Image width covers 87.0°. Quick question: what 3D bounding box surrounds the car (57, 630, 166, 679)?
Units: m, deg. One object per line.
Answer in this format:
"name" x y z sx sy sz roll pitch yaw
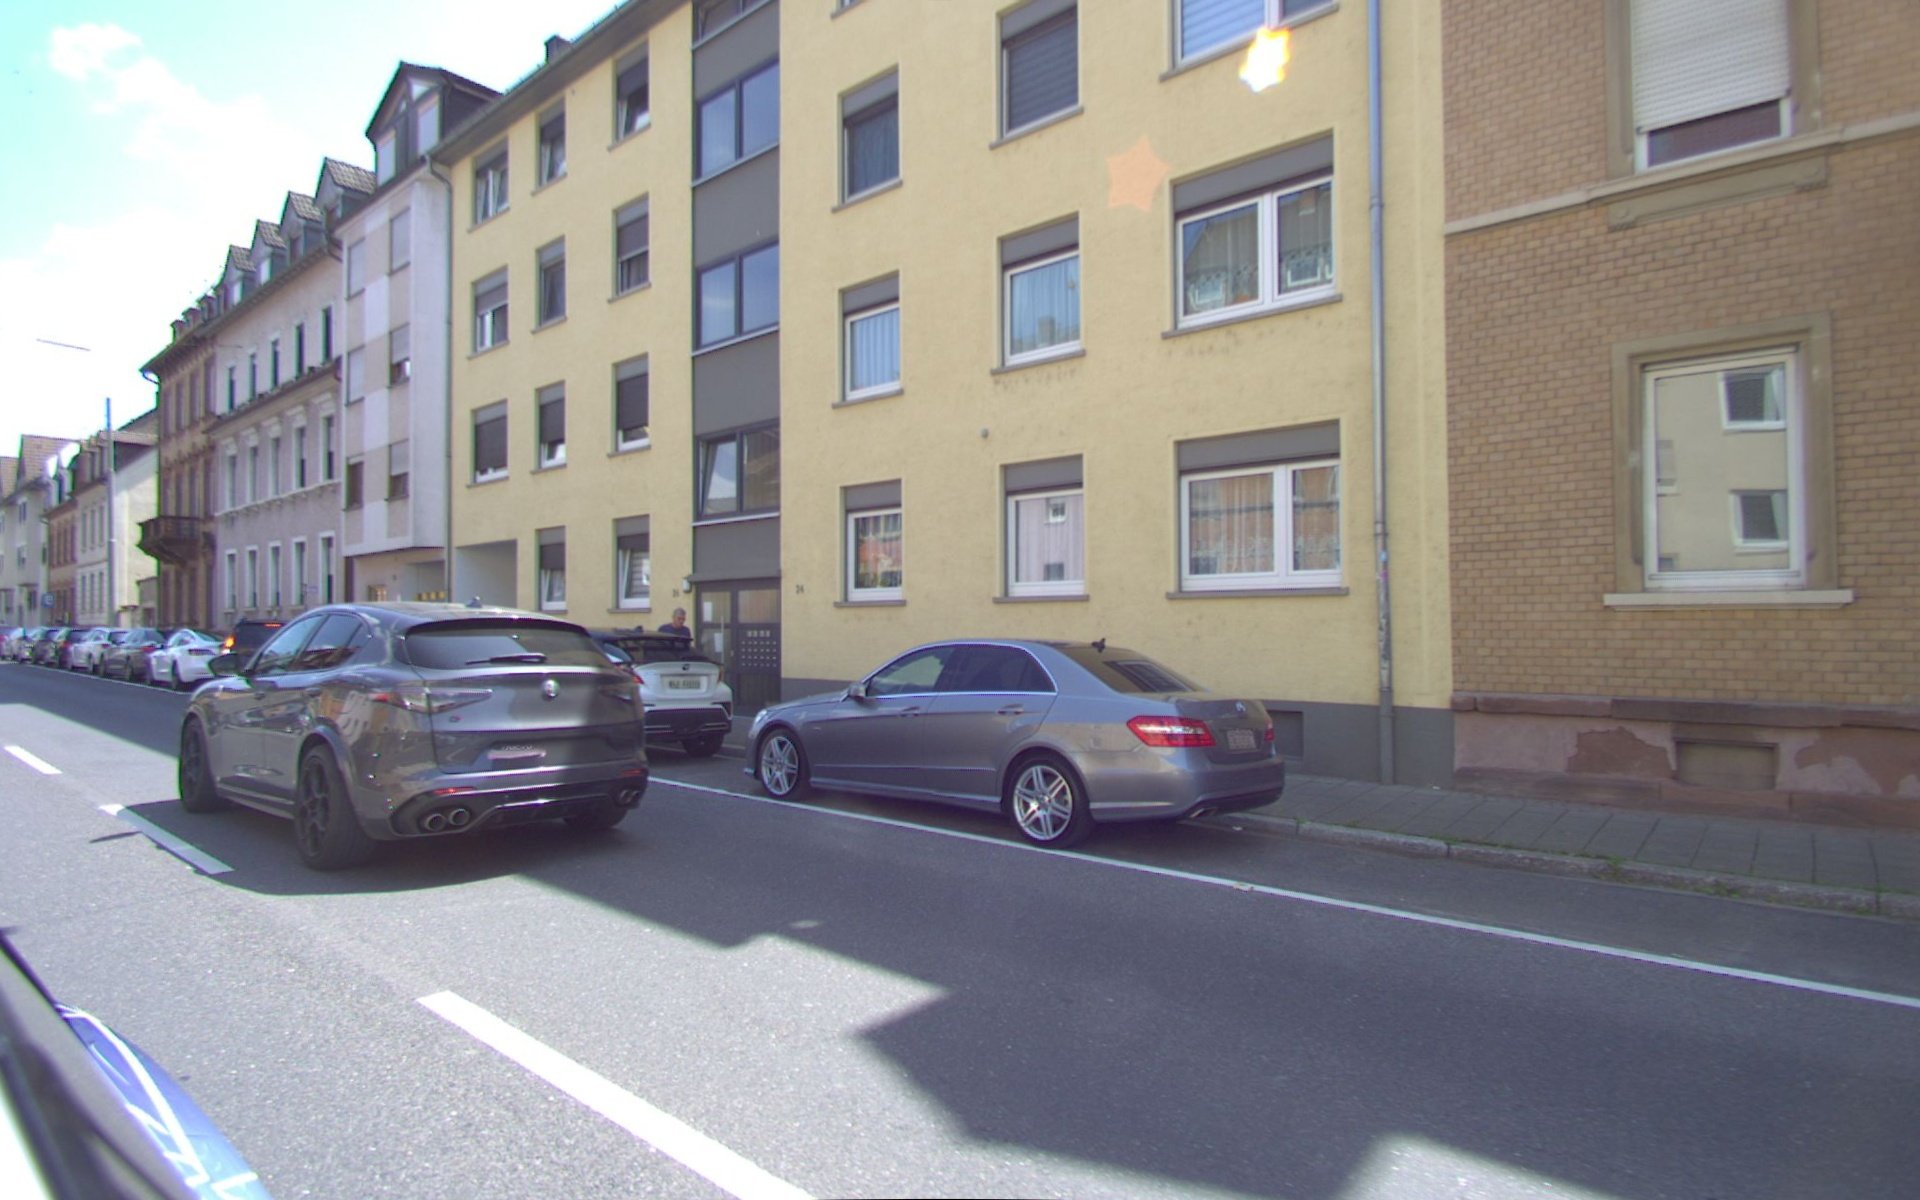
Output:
"car" -26.807 1.715 31.939 4.098 1.422 1.728 -1 -5 38

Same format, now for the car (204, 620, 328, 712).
"car" -13.470 1.277 19.749 1.721 1.600 3.963 4 -5 -33

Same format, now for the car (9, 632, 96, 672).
"car" -35.190 1.995 39.230 4.098 1.422 1.728 -1 -5 38

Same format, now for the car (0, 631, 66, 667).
"car" -39.584 2.063 42.877 4.098 1.422 1.728 -1 -5 38

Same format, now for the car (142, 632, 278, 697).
"car" -17.971 1.512 24.181 4.283 1.422 1.726 -2 -5 42

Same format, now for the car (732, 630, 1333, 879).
"car" 0.360 1.027 8.243 4.683 1.463 1.885 -2 -5 41

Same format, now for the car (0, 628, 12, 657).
"car" -48.724 2.081 50.316 4.098 1.422 1.644 -1 -5 38

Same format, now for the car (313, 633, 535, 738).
"car" -8.372 1.260 15.678 3.913 1.422 1.726 -2 -5 42

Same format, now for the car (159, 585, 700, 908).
"car" -3.993 0.811 7.279 4.443 1.623 1.888 -2 -3 40

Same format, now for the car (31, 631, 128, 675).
"car" -31.028 1.853 35.639 4.098 1.422 1.728 -1 -5 38

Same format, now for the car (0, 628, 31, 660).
"car" -44.743 2.019 46.986 4.098 1.422 1.644 -1 -5 38

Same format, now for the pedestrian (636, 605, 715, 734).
"pedestrian" -4.081 0.965 14.498 0.793 1.769 0.877 1 -2 -41

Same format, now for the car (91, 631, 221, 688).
"car" -22.069 1.599 27.713 4.507 1.422 1.728 -1 -5 38
